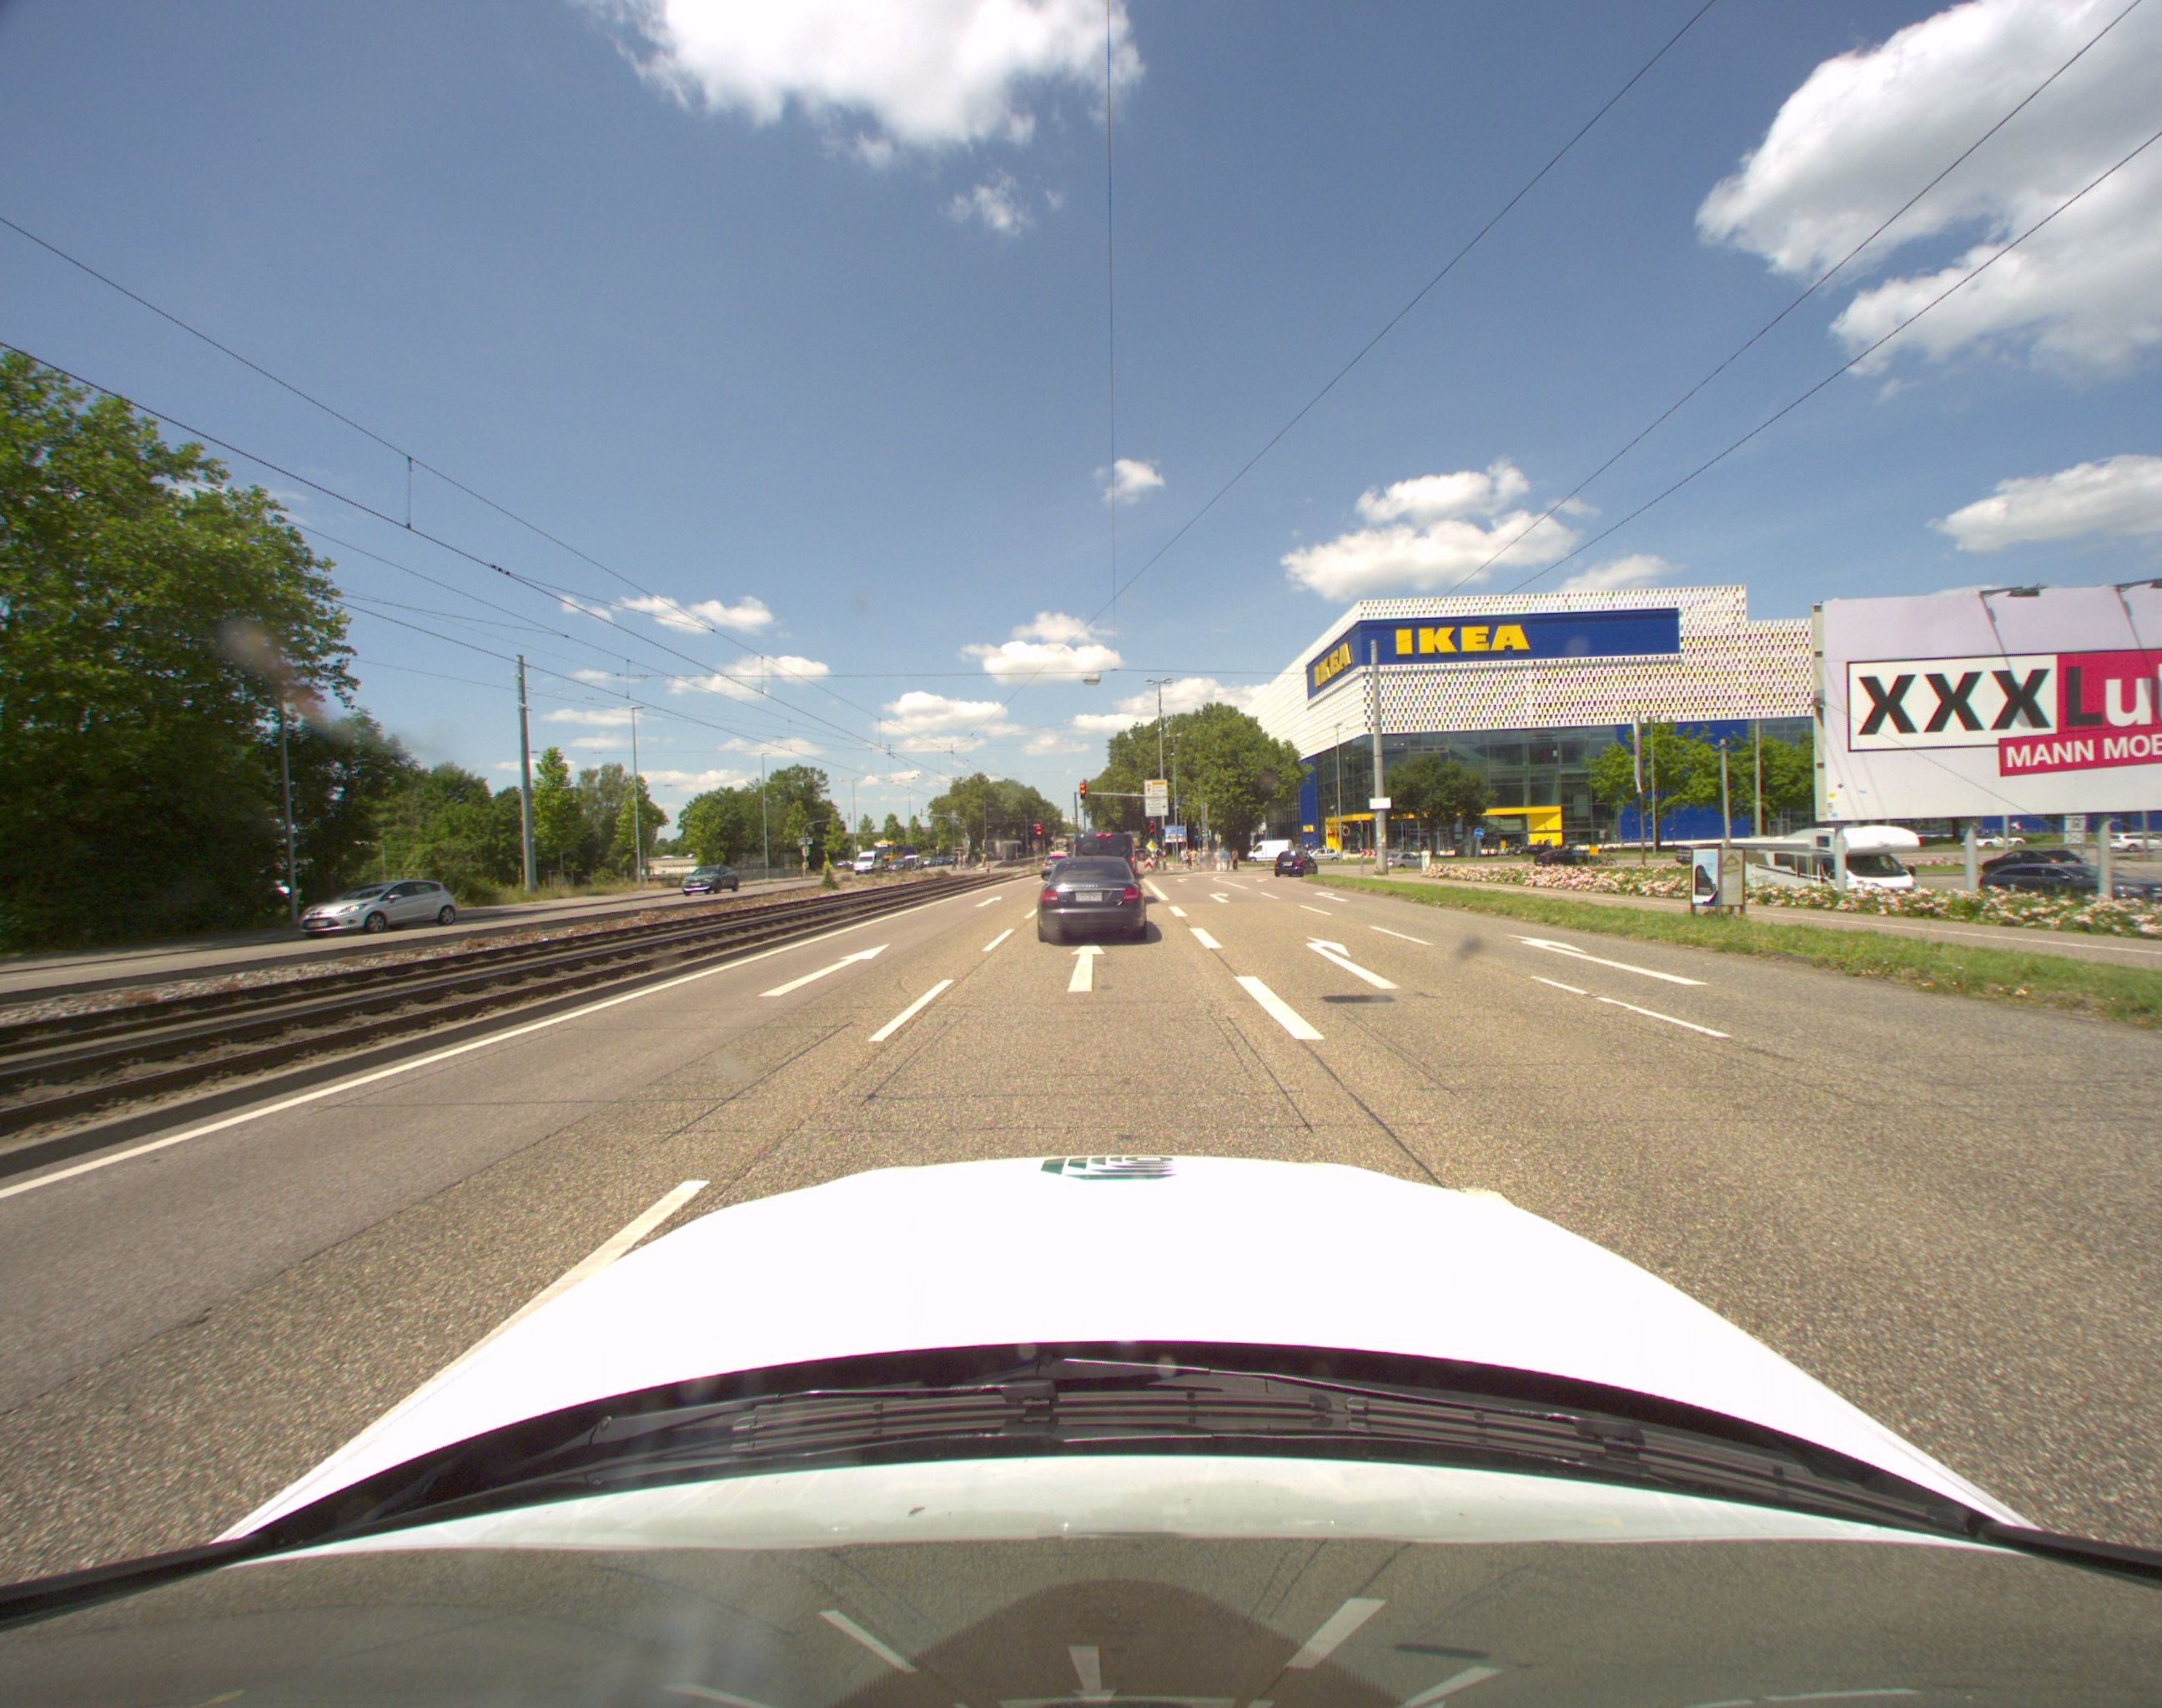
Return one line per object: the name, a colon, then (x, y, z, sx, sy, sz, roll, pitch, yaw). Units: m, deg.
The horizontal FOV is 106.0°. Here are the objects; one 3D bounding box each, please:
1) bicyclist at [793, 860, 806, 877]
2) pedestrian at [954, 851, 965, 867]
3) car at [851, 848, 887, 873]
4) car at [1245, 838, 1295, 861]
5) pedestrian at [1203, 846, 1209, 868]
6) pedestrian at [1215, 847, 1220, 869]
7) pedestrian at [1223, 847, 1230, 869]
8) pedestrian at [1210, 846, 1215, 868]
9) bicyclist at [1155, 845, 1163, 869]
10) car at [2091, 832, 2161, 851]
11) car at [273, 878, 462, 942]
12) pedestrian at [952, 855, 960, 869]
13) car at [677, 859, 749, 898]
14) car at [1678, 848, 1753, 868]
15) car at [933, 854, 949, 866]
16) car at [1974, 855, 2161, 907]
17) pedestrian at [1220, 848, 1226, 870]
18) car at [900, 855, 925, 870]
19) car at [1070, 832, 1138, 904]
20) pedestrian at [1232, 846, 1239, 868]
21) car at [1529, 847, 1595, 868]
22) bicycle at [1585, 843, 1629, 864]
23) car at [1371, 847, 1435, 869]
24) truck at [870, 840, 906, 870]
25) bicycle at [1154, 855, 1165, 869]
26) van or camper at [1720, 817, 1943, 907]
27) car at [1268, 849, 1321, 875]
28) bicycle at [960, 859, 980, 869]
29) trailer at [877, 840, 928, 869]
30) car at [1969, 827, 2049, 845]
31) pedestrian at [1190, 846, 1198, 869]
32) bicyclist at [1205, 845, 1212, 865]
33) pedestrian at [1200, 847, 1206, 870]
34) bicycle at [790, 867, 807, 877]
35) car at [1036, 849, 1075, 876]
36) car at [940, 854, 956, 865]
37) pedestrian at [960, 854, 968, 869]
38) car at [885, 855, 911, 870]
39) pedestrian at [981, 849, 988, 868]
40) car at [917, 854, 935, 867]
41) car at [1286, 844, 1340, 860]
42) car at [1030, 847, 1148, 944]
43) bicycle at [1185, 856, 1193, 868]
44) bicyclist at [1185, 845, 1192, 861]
bicyclist: (-29.080, 1.509, 84.096, 1.116, 1.774, 0.340, -1, 0, -3)
pedestrian: (-13.019, 0.553, 87.265, 0.816, 1.720, 0.779, -1, 0, 24)
car: (-23.970, 0.709, 92.309, 2.235, 2.588, 6.236, -4, 1, 1)
car: (20.056, -0.485, 86.349, 4.714, 2.309, 2.012, -1, 0, 28)
pedestrian: (9.540, 0.247, 62.022, 0.379, 1.635, 0.377, -1, 0, 5)
pedestrian: (10.000, 0.301, 59.744, 0.319, 1.635, 0.377, -1, 0, 5)
pedestrian: (11.068, 0.288, 61.865, 0.501, 1.635, 0.449, -1, 0, 4)
pedestrian: (10.026, 0.221, 61.925, 0.337, 1.635, 0.377, -1, 0, 5)
bicyclist: (5.821, 0.215, 60.791, 0.526, 1.789, 1.089, -1, 0, 2)
car: (83.031, -0.985, 64.217, 4.361, 1.486, 2.000, 0, 0, 0)
car: (-19.907, 1.498, 22.970, 1.817, 1.415, 3.883, -4, 0, 0)
pedestrian: (-12.956, 0.804, 84.382, 0.683, 1.443, 0.572, -1, 0, -2)
car: (-19.830, 1.281, 44.081, 1.988, 1.918, 4.408, 0, 1, -2)
car: (47.598, 0.264, 61.150, 4.115, 1.486, 2.001, 0, 0, 2)
car: (-22.378, 0.903, 130.179, 1.811, 1.883, 4.002, -1, 0, 2)
car: (35.220, 0.882, 28.857, 1.986, 1.537, 4.772, -3, 0, 2)
pedestrian: (10.431, 0.366, 59.736, 0.396, 1.635, 0.371, -1, 0, 5)
car: (-20.559, 1.034, 99.500, 1.814, 1.670, 4.465, 0, 0, 3)
car: (0.686, 0.383, 24.255, 1.830, 1.950, 4.001, -1, 0, 2)
pedestrian: (11.727, 0.240, 61.818, 0.518, 1.670, 0.495, -1, 0, 5)
car: (36.471, 0.267, 61.808, 3.969, 1.489, 1.737, -1, 0, 3)
bicycle: (37.339, -0.023, 57.836, 2.410, 1.481, 0.990, -1, 0, 6)
car: (22.534, 0.238, 57.041, 4.177, 1.486, 1.982, 0, 1, -29)
truck: (-23.936, 0.133, 101.300, 2.757, 3.569, 6.442, -1, 0, 2)
bicycle: (5.914, 0.599, 61.187, 0.685, 0.993, 2.753, -1, 0, 2)
van or camper: (28.410, 0.250, 31.381, 2.494, 3.020, 7.235, -1, 0, 6)
car: (12.938, 0.450, 49.146, 1.974, 1.486, 4.025, 0, 1, 32)
bicycle: (-11.392, 1.030, 83.473, 2.054, 0.925, 0.751, -1, 0, -8)
trailer: (-23.694, 0.067, 109.112, 2.757, 3.518, 15.884, -1, 0, 2)
car: (81.082, -1.575, 71.205, 4.475, 1.486, 2.003, 0, 0, 5)
pedestrian: (8.325, 0.258, 59.942, 0.551, 1.635, 0.433, -1, 0, 4)
bicyclist: (11.273, 0.099, 72.057, 0.525, 1.764, 0.831, -1, 0, 15)
pedestrian: (8.982, 0.332, 59.925, 0.443, 1.635, 0.430, -1, 0, 5)
bicycle: (-29.179, 1.896, 84.101, 1.487, 0.987, 0.485, -1, 0, -2)
car: (-1.432, 0.484, 47.718, 1.986, 1.486, 4.002, 0, 1, 2)
car: (-22.110, 0.902, 135.760, 1.811, 1.883, 4.002, -1, 0, 2)
pedestrian: (-12.270, 0.739, 85.477, 0.683, 1.564, 0.572, -1, 0, -2)
car: (-20.596, 0.945, 91.958, 1.815, 1.670, 4.463, 0, 0, 2)
pedestrian: (-10.696, 0.505, 89.926, 0.683, 2.013, 0.572, -1, 0, -3)
car: (-22.933, 0.914, 120.538, 1.811, 1.883, 4.002, -1, 0, 2)
car: (21.122, -0.188, 74.343, 4.475, 1.486, 2.003, 0, 0, 5)
car: (0.200, 0.635, 14.797, 1.786, 1.455, 4.002, -2, 0, 2)
bicycle: (8.108, 0.569, 61.277, 0.547, 0.877, 1.700, -1, 0, 5)
bicyclist: (8.152, -0.098, 61.732, 0.468, 1.193, 0.792, -1, 0, 5)
